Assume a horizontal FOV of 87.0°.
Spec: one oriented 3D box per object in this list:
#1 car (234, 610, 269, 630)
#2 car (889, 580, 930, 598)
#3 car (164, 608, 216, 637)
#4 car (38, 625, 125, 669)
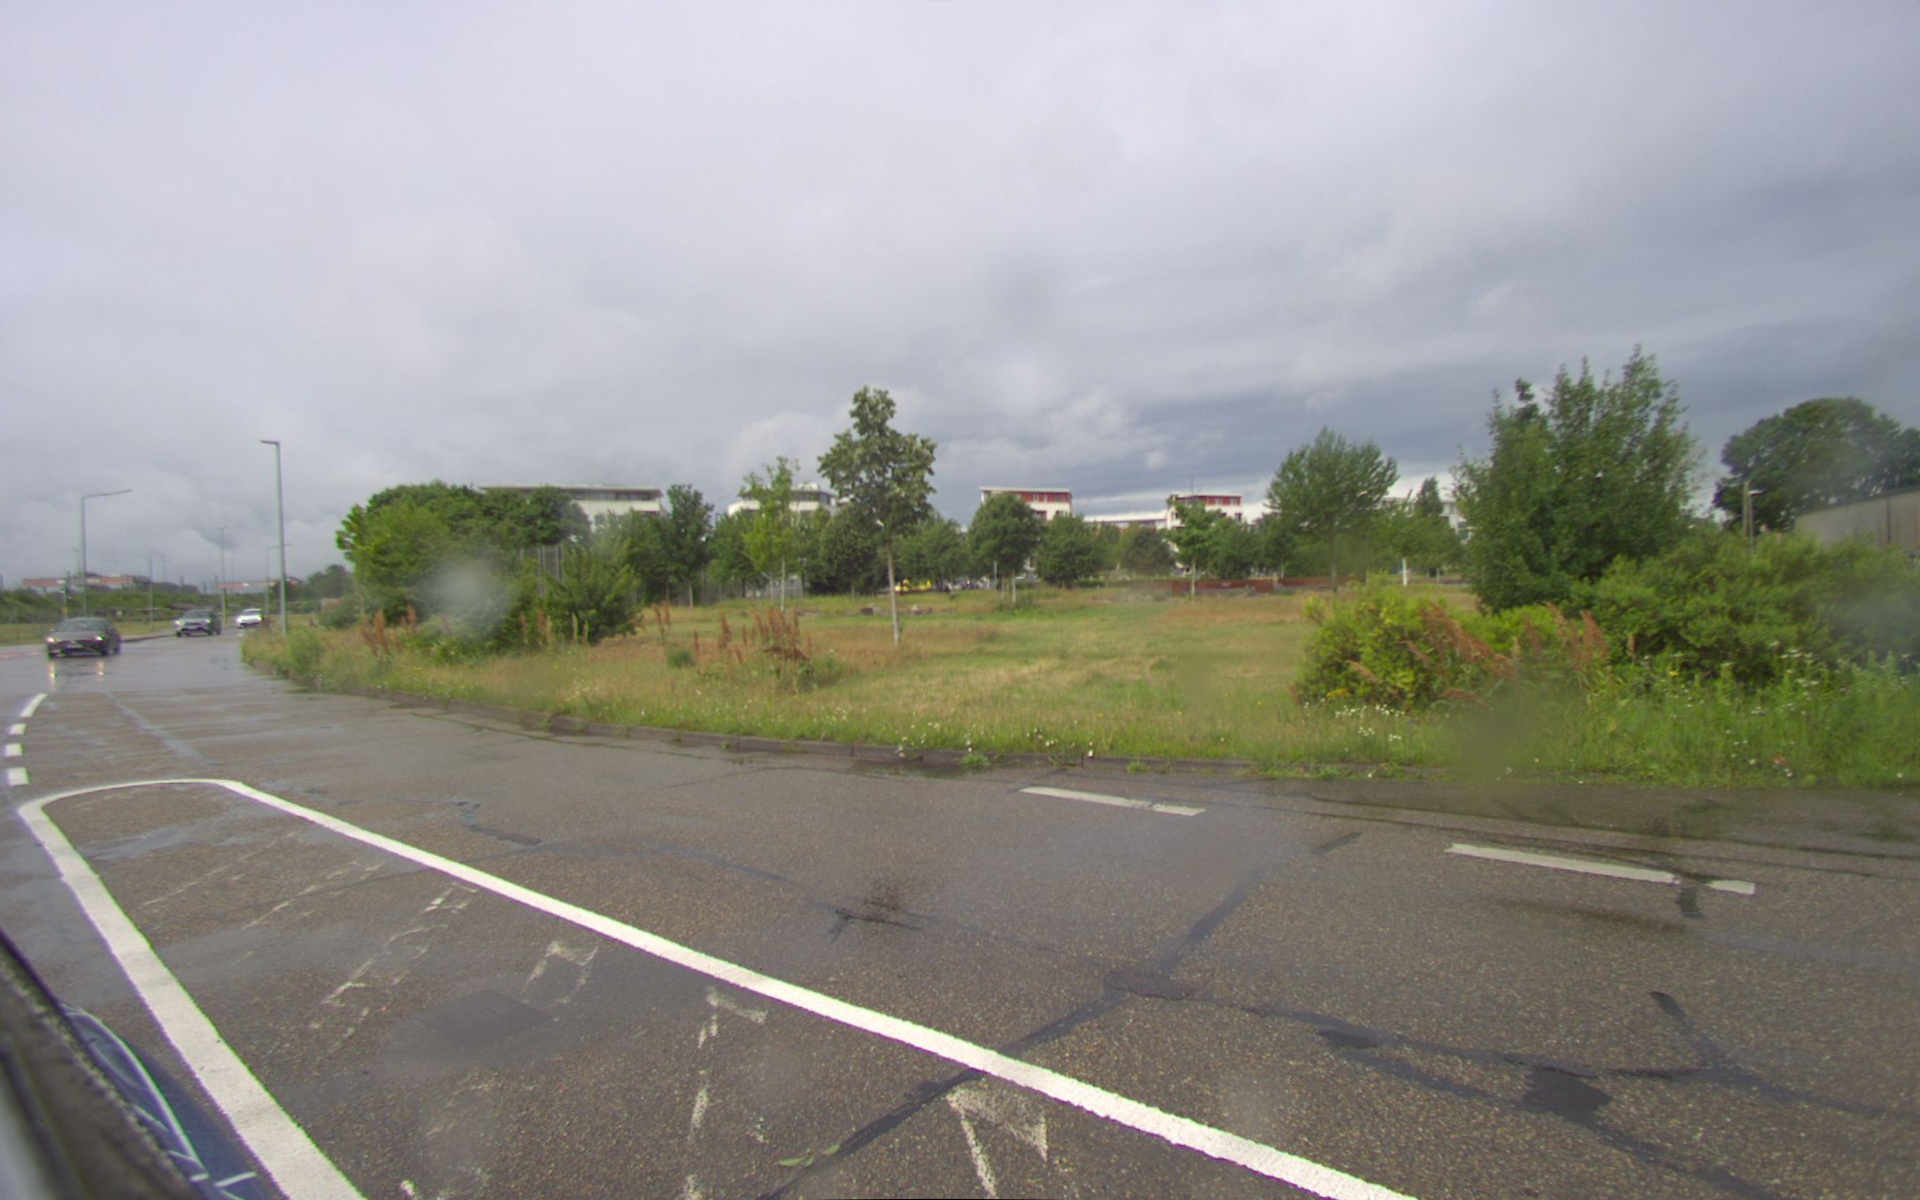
[{"bbox_3d":[-59.410,1.657,84.931,1.811,1.530,4.371,-2,1,-27],"label":"car"},{"bbox_3d":[-8.563,-1.857,170.564,6.527,2.633,1.973,-4,2,-25],"label":"car"},{"bbox_3d":[-48.632,1.406,63.983,1.977,1.718,4.343,-2,0,-29],"label":"car"},{"bbox_3d":[-34.303,1.773,39.637,1.843,1.530,4.370,0,0,-31],"label":"car"}]
